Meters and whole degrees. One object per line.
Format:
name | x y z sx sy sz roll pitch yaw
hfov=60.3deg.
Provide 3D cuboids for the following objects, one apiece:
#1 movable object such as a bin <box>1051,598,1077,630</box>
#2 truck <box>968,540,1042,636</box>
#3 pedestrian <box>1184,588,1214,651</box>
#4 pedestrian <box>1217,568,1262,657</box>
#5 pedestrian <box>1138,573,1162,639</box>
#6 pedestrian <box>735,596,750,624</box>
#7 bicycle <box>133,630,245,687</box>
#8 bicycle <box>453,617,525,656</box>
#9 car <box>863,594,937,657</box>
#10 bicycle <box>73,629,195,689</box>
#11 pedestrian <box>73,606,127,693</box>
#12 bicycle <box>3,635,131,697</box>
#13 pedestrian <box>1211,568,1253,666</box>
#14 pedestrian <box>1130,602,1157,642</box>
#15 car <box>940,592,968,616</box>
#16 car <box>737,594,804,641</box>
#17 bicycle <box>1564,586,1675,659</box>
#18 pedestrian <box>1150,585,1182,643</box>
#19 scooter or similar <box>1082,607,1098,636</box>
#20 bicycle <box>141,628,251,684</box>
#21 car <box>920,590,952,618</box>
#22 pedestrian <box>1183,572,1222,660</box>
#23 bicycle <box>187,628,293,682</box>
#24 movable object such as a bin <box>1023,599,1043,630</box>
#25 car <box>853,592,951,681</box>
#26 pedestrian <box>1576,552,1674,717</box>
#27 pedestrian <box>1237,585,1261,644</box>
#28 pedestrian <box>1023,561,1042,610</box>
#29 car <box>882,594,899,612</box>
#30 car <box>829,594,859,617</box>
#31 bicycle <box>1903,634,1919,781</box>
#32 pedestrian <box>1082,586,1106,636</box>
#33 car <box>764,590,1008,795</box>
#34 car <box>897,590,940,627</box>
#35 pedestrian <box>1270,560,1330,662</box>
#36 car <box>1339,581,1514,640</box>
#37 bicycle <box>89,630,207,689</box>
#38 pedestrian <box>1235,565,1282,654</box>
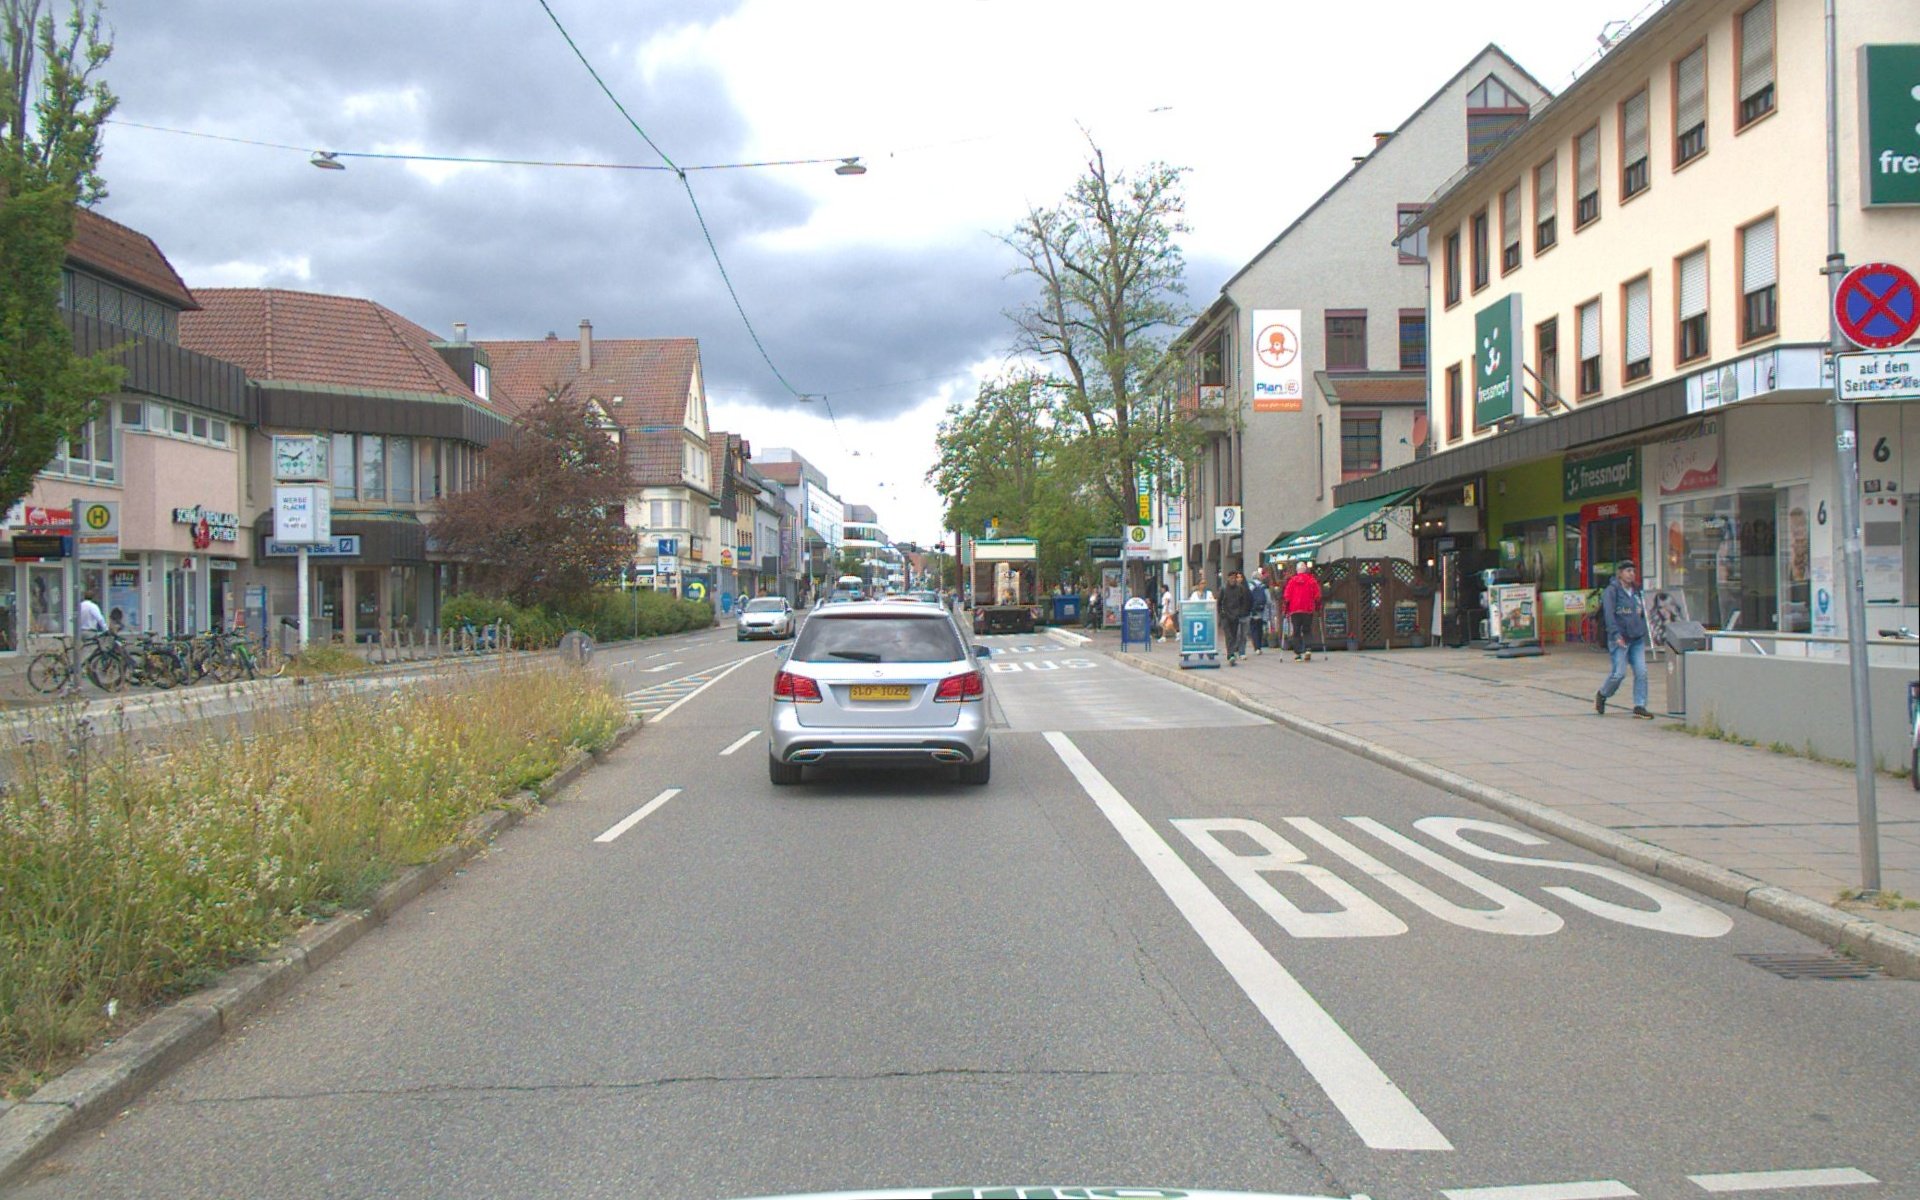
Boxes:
movable object such as a bin | 4.652 0.620 74.080 1.120 1.363 1.376 -1 0 1
truck | 1.726 -0.479 67.768 2.634 3.623 9.765 -1 0 -1
pedestrian | 6.201 0.491 42.904 0.658 1.594 0.492 1 2 20
pedestrian | 5.363 0.235 31.759 0.704 1.663 0.614 -2 -1 -3
pedestrian | 6.081 0.183 52.903 0.600 2.082 0.588 -3 -1 13
pedestrian | -13.265 0.598 100.899 0.801 1.663 0.979 1 0 -6
bicycle | -15.884 1.198 34.105 1.981 1.109 0.647 -1 0 -10
bicycle | -13.992 1.066 49.180 1.981 1.109 0.647 -1 0 -10
car | -1.665 0.685 47.228 1.953 1.713 4.000 -1 0 0
bicycle | -15.894 1.130 31.843 1.978 1.109 0.648 -1 0 -6
pedestrian | -18.307 1.038 35.206 0.711 1.795 0.755 2 0 -3
bicycle | -16.665 1.217 30.904 1.984 1.109 0.646 0 0 -15
pedestrian | 4.823 0.297 29.383 0.599 1.707 0.615 2 0 2
pedestrian | 5.588 0.668 50.391 0.698 1.186 0.587 0 1 -7
car | -0.441 0.294 119.868 1.953 1.713 4.000 -1 0 0
car | -6.690 0.621 58.760 1.836 1.532 4.343 -2 0 0
bicycle | 10.452 0.340 26.306 0.726 1.081 2.350 -2 0 -2
pedestrian | 5.955 0.389 47.804 0.604 1.663 0.789 -1 1 -22
scooter or similar | 4.401 0.725 56.086 0.382 0.976 0.350 -1 0 -42
bicycle | -16.067 1.167 34.797 1.981 1.109 0.647 -1 0 -10
car | -1.482 0.253 103.028 1.953 1.713 4.000 -1 0 0
pedestrian | 4.673 0.301 31.891 0.600 1.663 0.614 -2 -1 -3
bicycle | -15.527 1.176 35.695 1.981 1.109 0.647 -1 0 -10
movable object such as a bin | 3.258 0.654 74.275 0.863 1.363 1.085 -1 0 1
car | -1.052 0.694 31.397 1.719 1.547 3.999 -1 -1 -1
pedestrian | 6.903 0.346 17.196 0.673 1.663 0.853 -1 0 2
pedestrian | 8.146 0.398 46.621 0.574 1.663 0.615 0 0 1
pedestrian | 2.720 -0.540 62.085 0.601 1.811 0.587 -1 -1 -4
car | -6.578 0.282 156.521 1.539 1.567 2.959 1 0 -3
car | -9.833 0.434 140.281 2.026 1.768 4.694 -3 0 1
bicycle | 6.630 0.734 10.701 0.268 0.991 1.387 -1 0 1
pedestrian | 4.578 0.367 56.531 0.528 1.663 0.583 2 0 -25
car | -0.627 0.696 14.459 1.836 1.532 3.998 0 0 -2
car | -1.991 0.377 79.709 1.953 1.713 4.000 -1 0 0
pedestrian | 6.137 0.206 29.863 0.780 1.772 0.781 -3 -1 -6
car | 13.235 0.291 47.102 4.508 1.648 1.881 0 0 3
bicycle | -16.139 1.177 32.894 1.981 1.109 0.647 -1 0 -10
pedestrian | 6.110 0.201 33.912 0.669 1.772 0.781 -3 -1 -6
